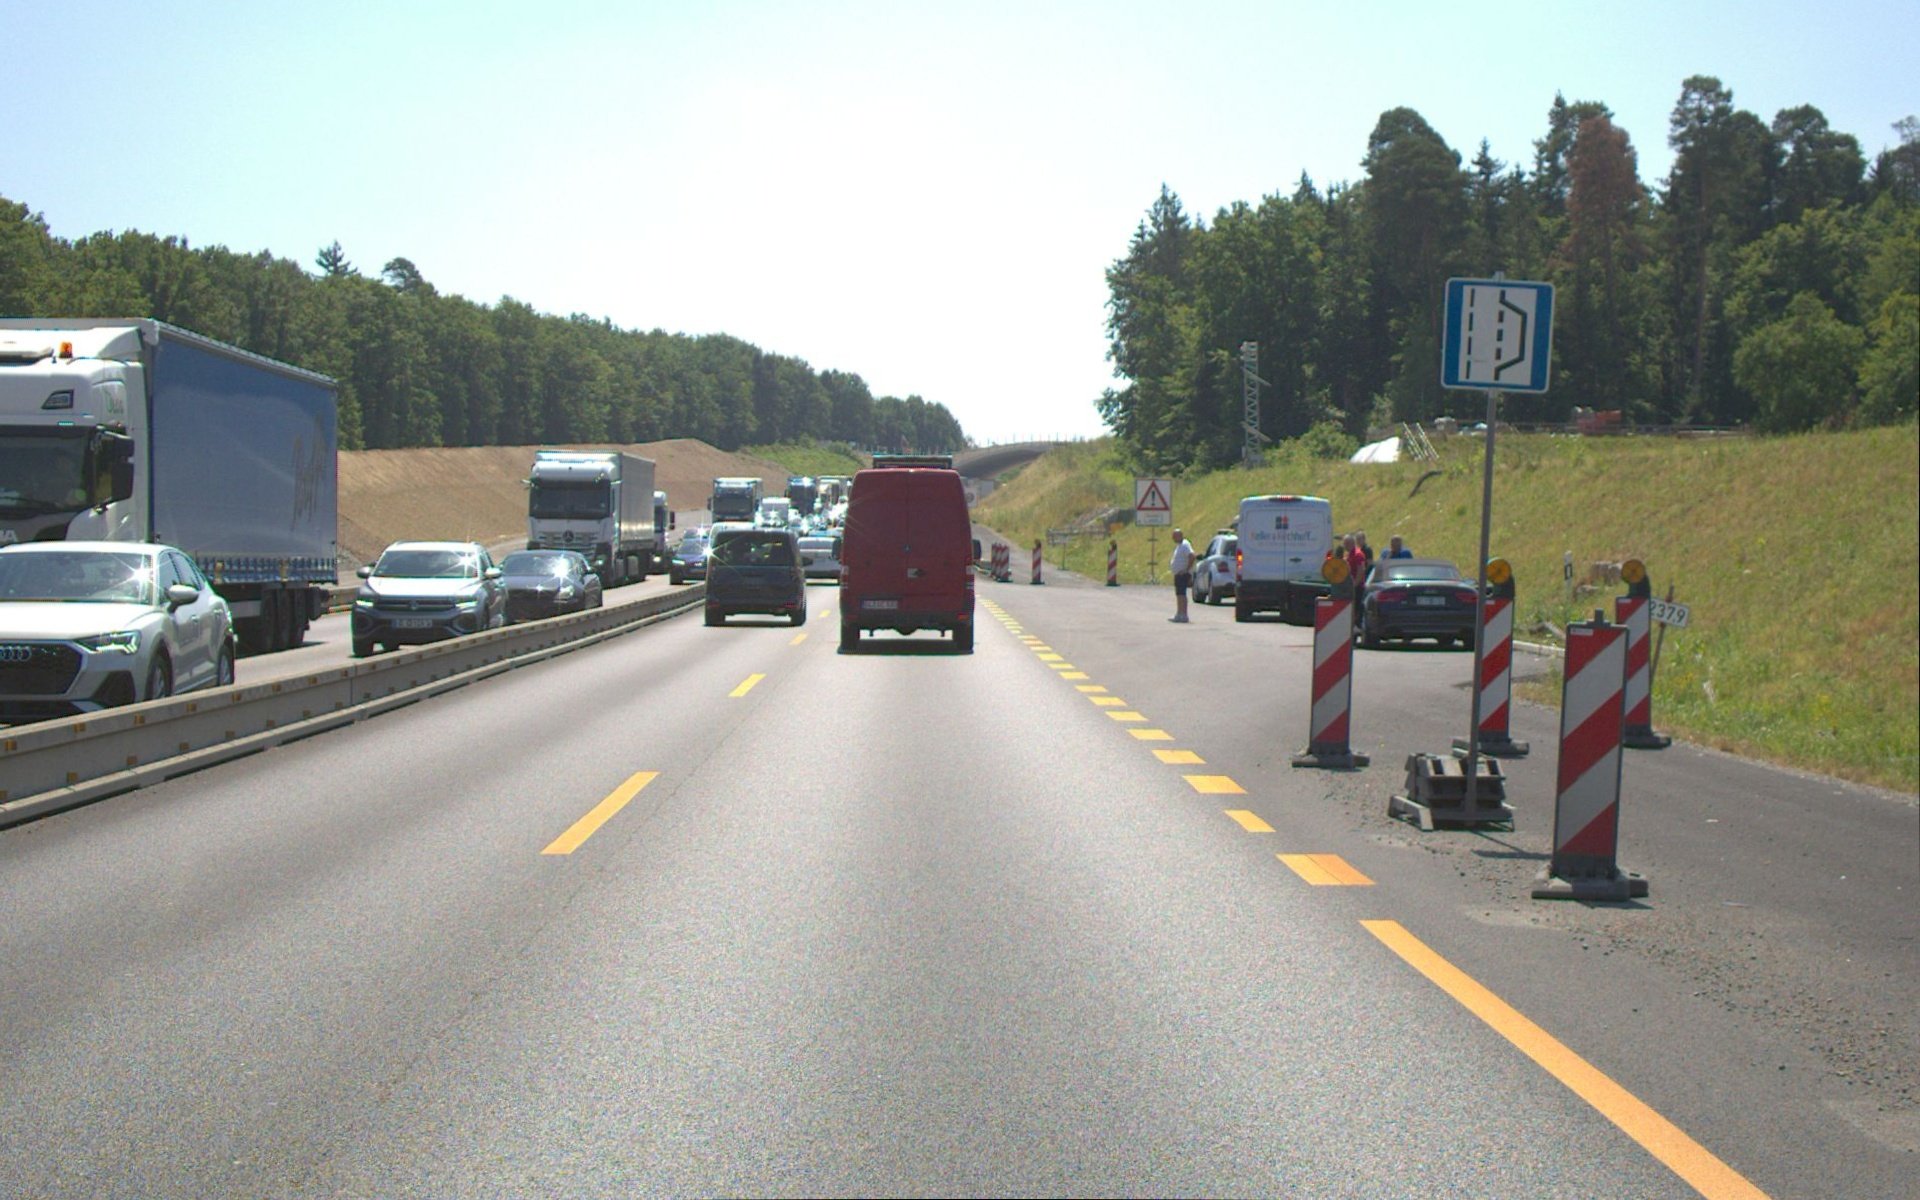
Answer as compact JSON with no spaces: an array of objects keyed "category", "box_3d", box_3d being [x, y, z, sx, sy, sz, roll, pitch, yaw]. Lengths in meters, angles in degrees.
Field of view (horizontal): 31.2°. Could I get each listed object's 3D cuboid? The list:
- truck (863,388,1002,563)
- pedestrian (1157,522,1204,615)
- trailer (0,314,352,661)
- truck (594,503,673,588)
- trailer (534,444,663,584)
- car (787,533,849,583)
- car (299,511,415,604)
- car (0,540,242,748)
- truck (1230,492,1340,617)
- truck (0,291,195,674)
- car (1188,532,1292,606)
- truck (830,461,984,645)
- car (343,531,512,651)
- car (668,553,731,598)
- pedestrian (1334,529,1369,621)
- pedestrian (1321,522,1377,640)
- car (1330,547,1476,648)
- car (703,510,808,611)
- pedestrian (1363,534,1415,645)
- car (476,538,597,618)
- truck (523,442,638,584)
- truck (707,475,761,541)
[{"category":"truck","box_3d":[-1.010,-4.122,119.851,4.400,5.477,16.604,1,0,-1]},{"category":"pedestrian","box_3d":[4.379,-0.619,68.361,0.723,1.822,0.720,1,0,-15]},{"category":"trailer","box_3d":[-10.652,-1.396,46.156,2.653,3.925,13.997,1,1,-1]},{"category":"truck","box_3d":[-12.048,-1.982,127.155,2.398,3.048,5.062,1,0,0]},{"category":"trailer","box_3d":[-11.218,-2.670,107.989,2.790,4.061,13.712,1,1,-1]},{"category":"car","box_3d":[-4.458,-1.300,108.577,1.831,1.517,3.961,1,0,-1]},{"category":"car","box_3d":[-12.591,-0.877,71.950,1.717,1.868,4.000,1,0,0]},{"category":"car","box_3d":[-6.911,0.303,26.833,1.807,1.483,4.243,1,0,-2]},{"category":"truck","box_3d":[6.832,-0.979,71.833,2.130,2.448,5.924,1,1,6]},{"category":"truck","box_3d":[-10.498,-1.302,38.951,2.591,4.039,5.150,1,1,-2]},{"category":"car","box_3d":[6.926,-0.791,85.527,1.774,1.671,4.856,1,2,-4]},{"category":"truck","box_3d":[-0.765,-0.674,51.507,2.153,2.581,5.333,1,0,0]},{"category":"car","box_3d":[-7.318,-0.159,47.593,1.775,1.549,4.140,-2,1,-2]},{"category":"car","box_3d":[-8.185,-0.764,108.211,1.726,1.382,4.484,1,0,-2]},{"category":"pedestrian","box_3d":[7.739,-0.491,67.958,0.563,1.789,0.667,1,0,-2]},{"category":"pedestrian","box_3d":[6.043,-0.297,53.463,0.640,1.822,0.559,1,1,-21]},{"category":"car","box_3d":[6.894,-0.070,53.871,1.654,1.422,4.545,-2,1,0]},{"category":"car","box_3d":[-3.839,-0.763,65.178,1.751,1.818,4.783,1,1,-1]},{"category":"pedestrian","box_3d":[7.106,-0.181,56.974,0.624,1.822,0.643,1,1,-12]},{"category":"car","box_3d":[-7.737,-0.393,63.207,1.729,1.382,4.861,1,0,-2]},{"category":"truck","box_3d":[-11.135,-2.509,101.244,2.768,4.030,4.943,1,0,0]},{"category":"truck","box_3d":[-13.161,-5.328,200.882,2.509,3.605,9.641,1,0,0]}]
